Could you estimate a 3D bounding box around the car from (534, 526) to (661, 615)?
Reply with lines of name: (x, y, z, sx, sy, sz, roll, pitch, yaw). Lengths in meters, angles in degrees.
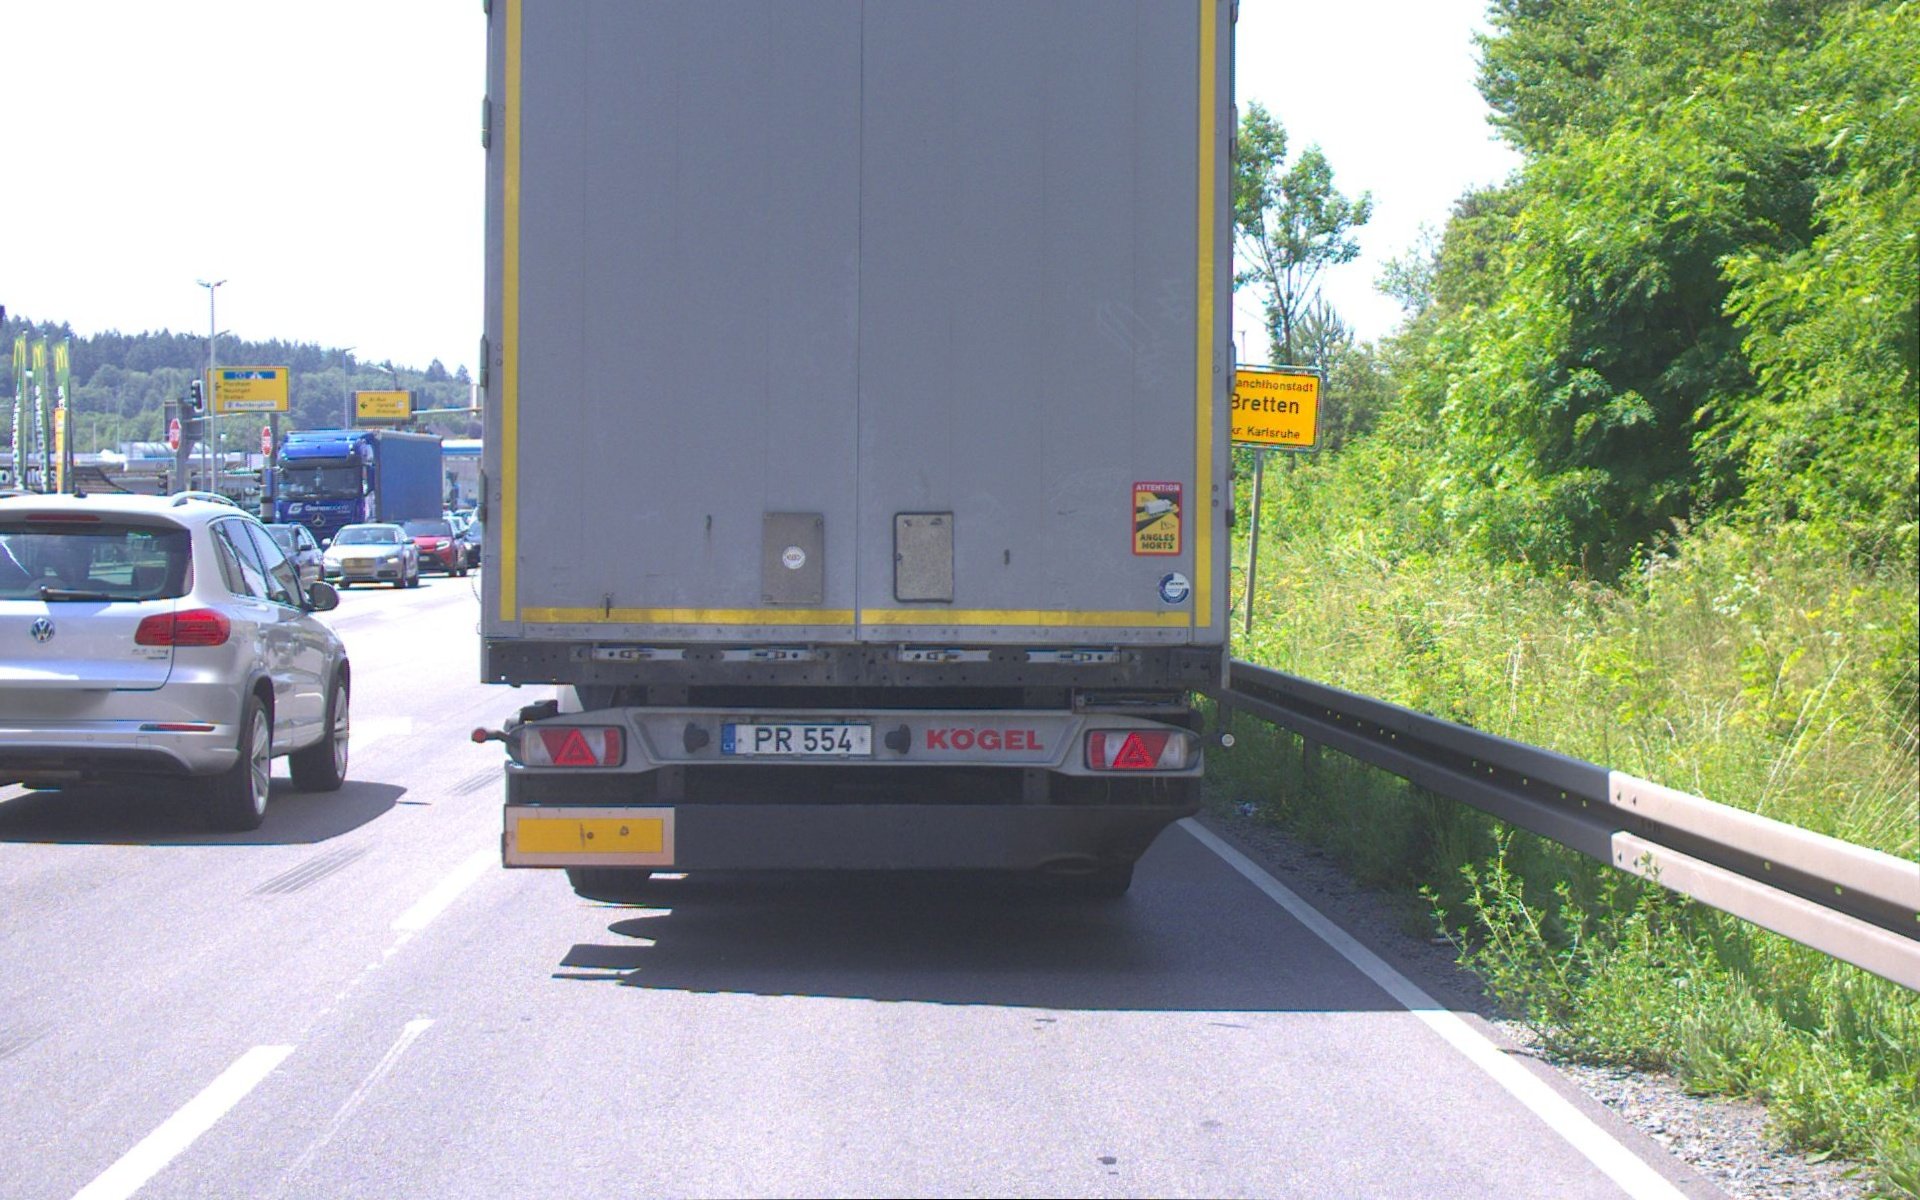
car: (-5.840, -0.491, 55.725, 1.686, 1.393, 4.403, 0, 1, -1)

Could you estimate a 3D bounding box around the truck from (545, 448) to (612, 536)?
truck: (-19.860, -5.513, 178.321, 3.145, 4.334, 17.547, 0, 1, -7)

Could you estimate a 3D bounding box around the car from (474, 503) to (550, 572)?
car: (-13.304, -1.852, 102.264, 1.773, 2.007, 4.000, 0, 1, -1)

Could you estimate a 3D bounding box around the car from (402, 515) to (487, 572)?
car: (-13.429, -1.500, 89.685, 1.641, 1.433, 4.017, 0, 2, 0)

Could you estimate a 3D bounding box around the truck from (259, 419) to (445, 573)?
truck: (-17.659, -2.979, 101.100, 2.968, 4.162, 16.576, 0, 1, -2)

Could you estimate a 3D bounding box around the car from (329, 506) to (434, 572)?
car: (-12.765, -1.324, 76.017, 1.766, 1.381, 4.000, 1, 0, -2)

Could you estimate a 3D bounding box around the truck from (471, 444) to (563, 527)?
truck: (-18.549, -4.735, 144.558, 2.846, 3.340, 11.483, 0, 1, -2)

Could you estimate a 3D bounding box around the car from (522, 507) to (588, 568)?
car: (-13.663, -2.108, 116.104, 1.773, 2.007, 4.000, 0, 1, -1)

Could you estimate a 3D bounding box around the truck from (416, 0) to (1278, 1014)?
truck: (-0.448, -1.050, 19.592, 2.755, 4.623, 16.656, 1, 0, -1)

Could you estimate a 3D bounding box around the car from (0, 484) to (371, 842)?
car: (-4.397, 0.239, 18.293, 1.804, 1.664, 4.292, 1, 1, -1)

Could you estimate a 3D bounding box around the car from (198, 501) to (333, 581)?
car: (-12.639, -1.057, 62.748, 1.766, 1.381, 4.000, 1, 0, -2)
